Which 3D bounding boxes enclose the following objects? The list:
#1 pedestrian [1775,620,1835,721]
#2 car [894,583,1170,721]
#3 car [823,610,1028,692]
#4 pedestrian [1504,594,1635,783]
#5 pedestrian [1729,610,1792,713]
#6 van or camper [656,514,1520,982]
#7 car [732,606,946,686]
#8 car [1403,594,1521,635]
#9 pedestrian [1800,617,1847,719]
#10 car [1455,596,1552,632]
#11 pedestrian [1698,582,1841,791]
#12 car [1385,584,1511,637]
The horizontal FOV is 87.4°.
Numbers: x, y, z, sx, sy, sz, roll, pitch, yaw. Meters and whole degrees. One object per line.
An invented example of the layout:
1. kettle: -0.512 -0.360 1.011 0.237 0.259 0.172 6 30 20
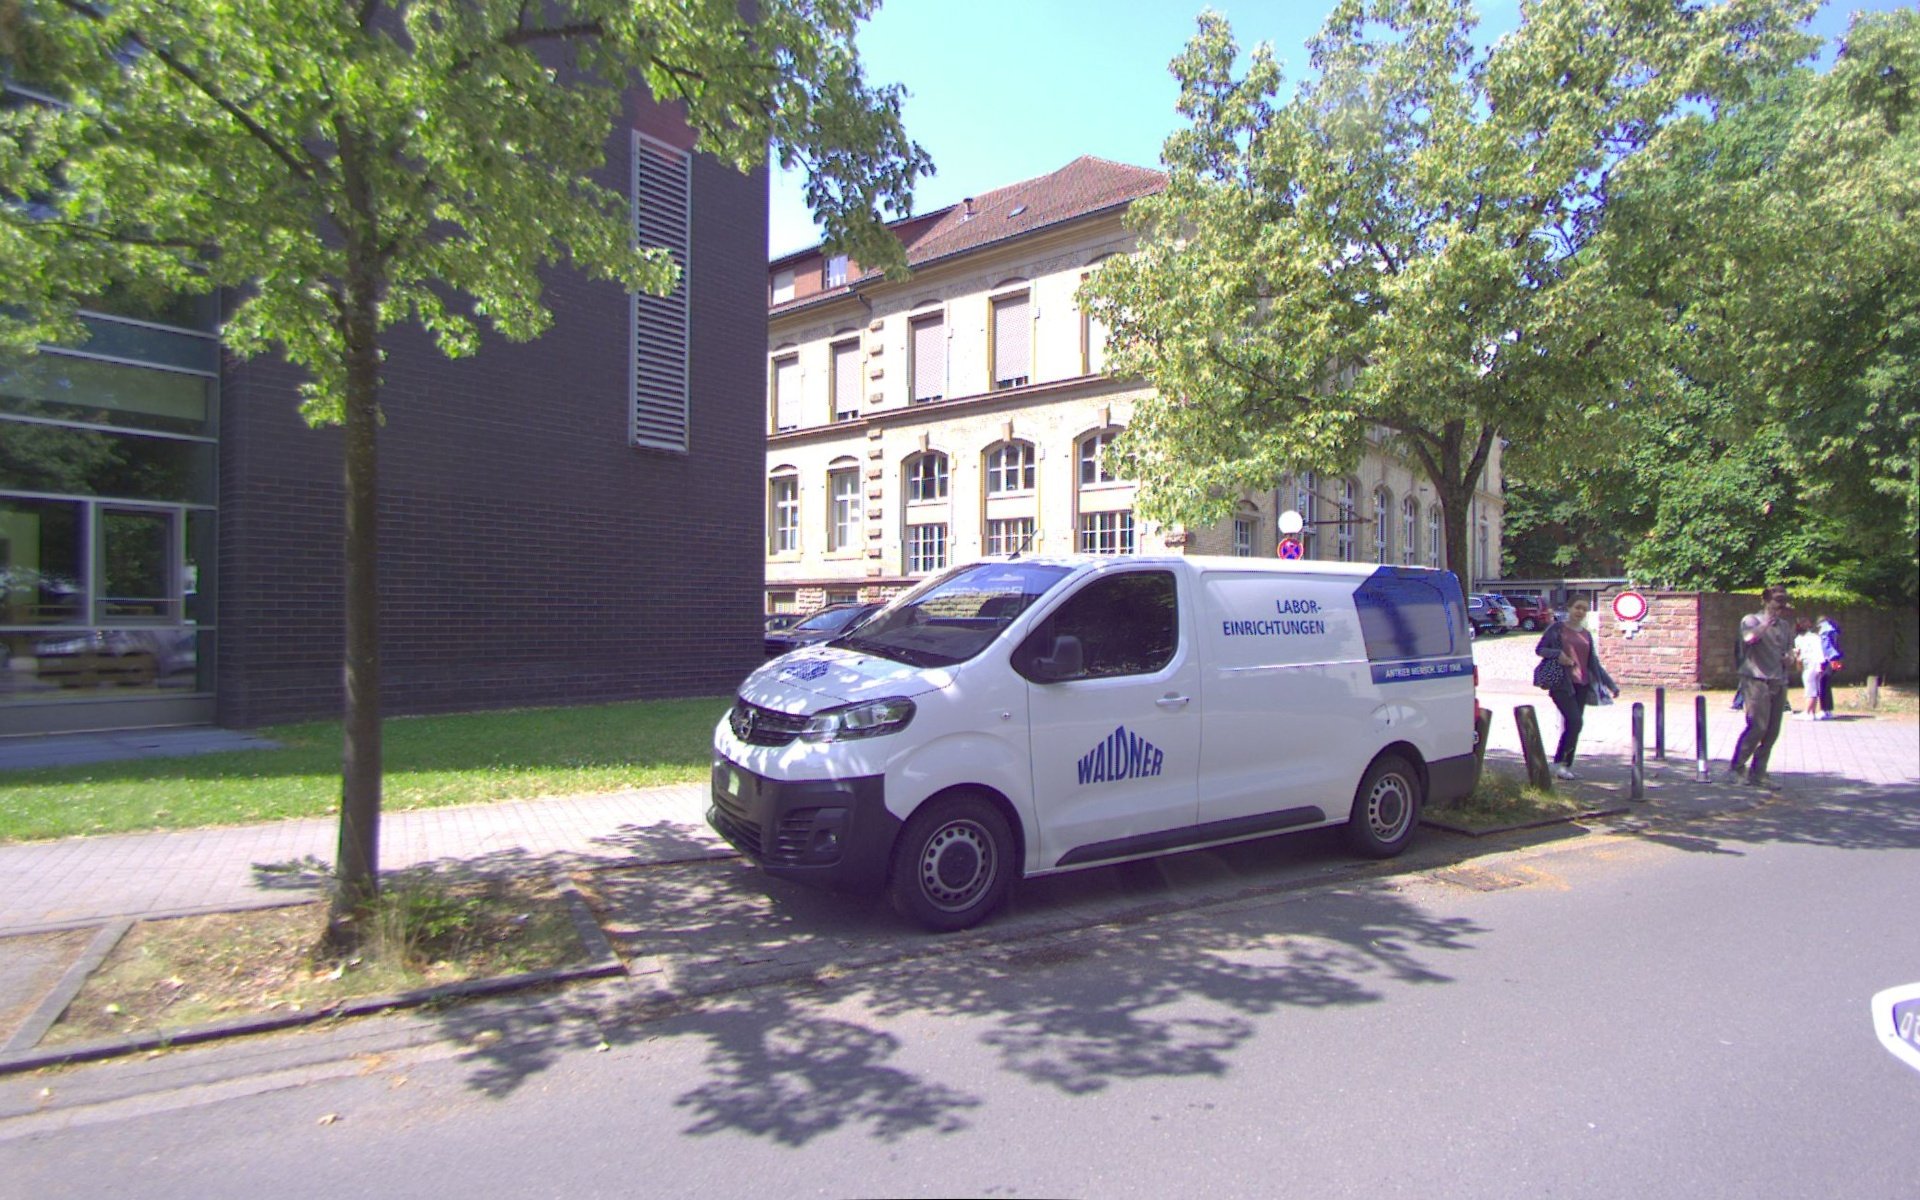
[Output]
1. pedestrian: 13.248 1.085 15.760 0.574 1.547 0.494 0 -1 21
2. car: 1.404 0.782 16.931 2.148 1.951 5.165 0 -1 38
3. car: -0.545 0.881 18.578 1.795 1.341 3.751 0 -1 39
4. pedestrian: 5.842 0.819 9.652 0.778 1.735 0.740 1 -1 -14
5. pedestrian: 13.420 1.013 16.855 0.616 1.685 0.604 1 -1 12
6. van or camper: 1.026 0.654 6.374 5.356 1.949 1.944 1 0 -30
7. car: -2.300 0.860 19.979 1.795 1.341 4.144 3 1 39
8. car: 19.527 0.547 39.243 4.023 1.537 1.755 0 -1 24
9. pedestrian: 13.849 1.076 16.124 0.487 1.606 0.493 0 -1 31
10. car: 25.352 0.648 46.895 3.804 1.643 1.750 0 -1 37
11. pedestrian: 7.616 0.789 9.477 0.777 1.882 0.725 1 -1 -11
12. car: 17.929 0.387 37.112 4.091 1.847 1.999 0 -1 24
